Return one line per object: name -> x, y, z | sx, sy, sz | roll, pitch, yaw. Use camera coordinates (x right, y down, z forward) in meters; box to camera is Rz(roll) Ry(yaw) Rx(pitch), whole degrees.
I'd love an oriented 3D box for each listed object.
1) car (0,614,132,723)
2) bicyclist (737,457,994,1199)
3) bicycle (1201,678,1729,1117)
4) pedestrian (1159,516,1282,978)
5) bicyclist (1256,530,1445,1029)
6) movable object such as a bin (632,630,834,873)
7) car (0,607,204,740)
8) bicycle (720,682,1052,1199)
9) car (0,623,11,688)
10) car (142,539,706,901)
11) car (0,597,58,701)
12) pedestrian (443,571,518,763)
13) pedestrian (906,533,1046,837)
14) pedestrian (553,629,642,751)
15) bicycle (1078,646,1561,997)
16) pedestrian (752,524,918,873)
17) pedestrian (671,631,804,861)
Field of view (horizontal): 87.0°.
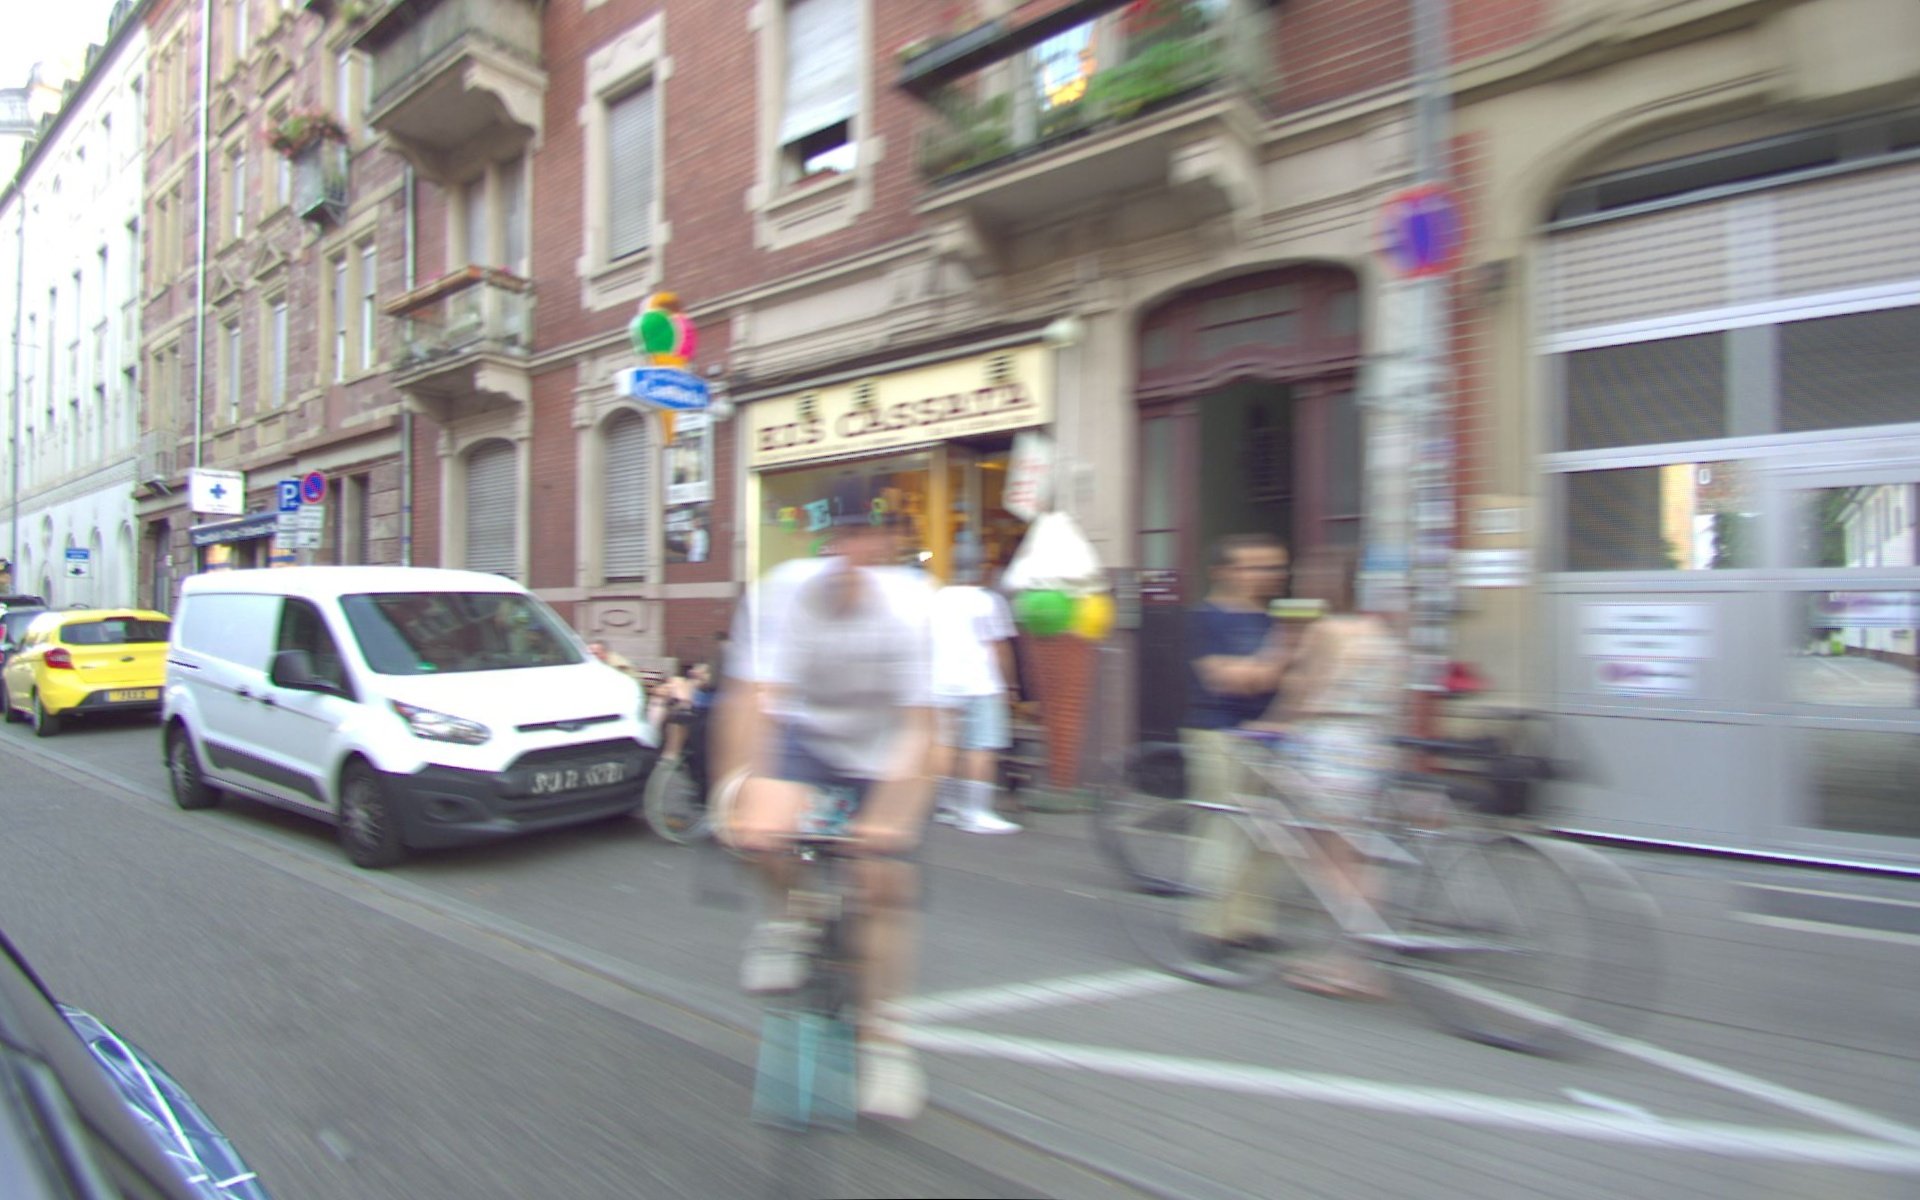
car -> -15.309, 1.052, 16.655 | 3.966, 1.608, 1.908 | -1, -1, 40
bicyclist -> -0.267, 0.566, 2.479 | 0.520, 1.716, 0.791 | 0, 0, -11
bicycle -> 1.609, 0.851, 3.401 | 1.520, 1.076, 0.461 | 0, 0, 42
pedestrian -> 1.044, 0.547, 4.041 | 0.349, 1.722, 0.414 | 0, 0, 33
bicyclist -> 1.386, 0.577, 3.592 | 0.487, 1.602, 0.461 | -1, 0, 42
movable object such as a bin -> -1.336, 0.828, 6.003 | 0.775, 1.260, 0.879 | 0, 0, 39
car -> -11.740, 0.896, 13.633 | 3.789, 1.541, 1.688 | -1, -1, 40
bicycle -> -0.273, 0.858, 2.452 | 0.512, 1.164, 1.787 | 0, 0, -11
car -> -23.600, 1.261, 23.283 | 4.475, 1.441, 1.909 | -1, -1, 38
car -> -3.963, 0.607, 7.130 | 4.579, 1.802, 1.754 | 0, 0, 37
car -> -19.507, 0.924, 19.803 | 4.898, 1.897, 1.909 | -1, -1, 38
pedestrian -> -4.528, 0.603, 9.583 | 0.610, 1.743, 0.587 | 0, 0, -23
pedestrian -> 0.093, 0.508, 6.552 | 0.590, 1.827, 0.722 | 0, 0, -33
pedestrian -> -3.637, 0.877, 10.161 | 0.572, 1.148, 0.626 | 0, 0, 37
bicycle -> 1.448, 0.819, 4.448 | 0.460, 1.164, 2.001 | 0, 0, -44
pedestrian -> -0.703, 0.516, 5.740 | 0.718, 1.827, 0.594 | 0, 0, 30
pedestrian -> -1.330, 0.828, 6.040 | 0.652, 1.260, 0.473 | 0, 0, 39
